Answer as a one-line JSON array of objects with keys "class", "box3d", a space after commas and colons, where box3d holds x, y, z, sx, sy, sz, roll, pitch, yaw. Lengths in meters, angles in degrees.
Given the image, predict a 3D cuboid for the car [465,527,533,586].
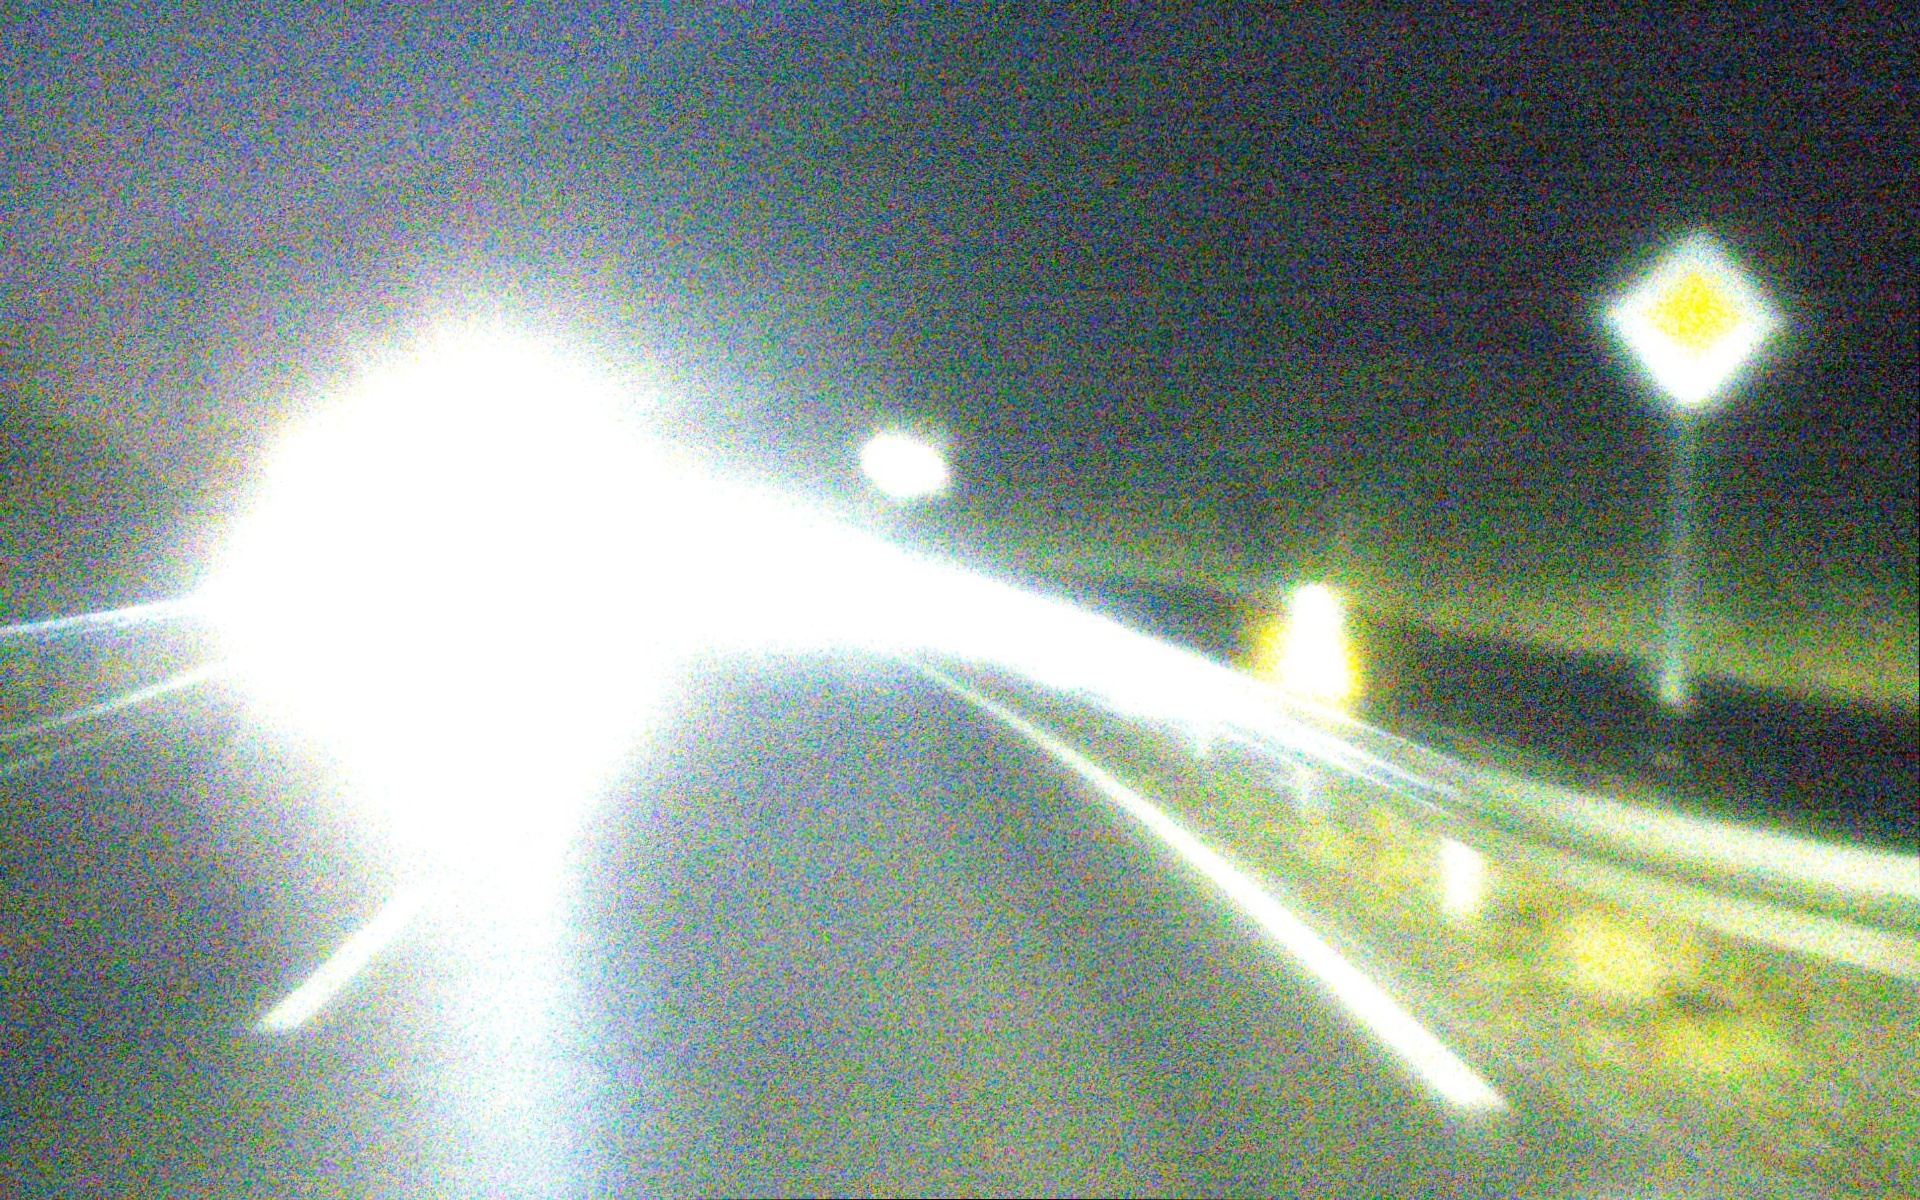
[{"class": "car", "box3d": [-11.928, -1.147, 88.940, 1.701, 1.501, 3.685, 0, 1, -8]}]
